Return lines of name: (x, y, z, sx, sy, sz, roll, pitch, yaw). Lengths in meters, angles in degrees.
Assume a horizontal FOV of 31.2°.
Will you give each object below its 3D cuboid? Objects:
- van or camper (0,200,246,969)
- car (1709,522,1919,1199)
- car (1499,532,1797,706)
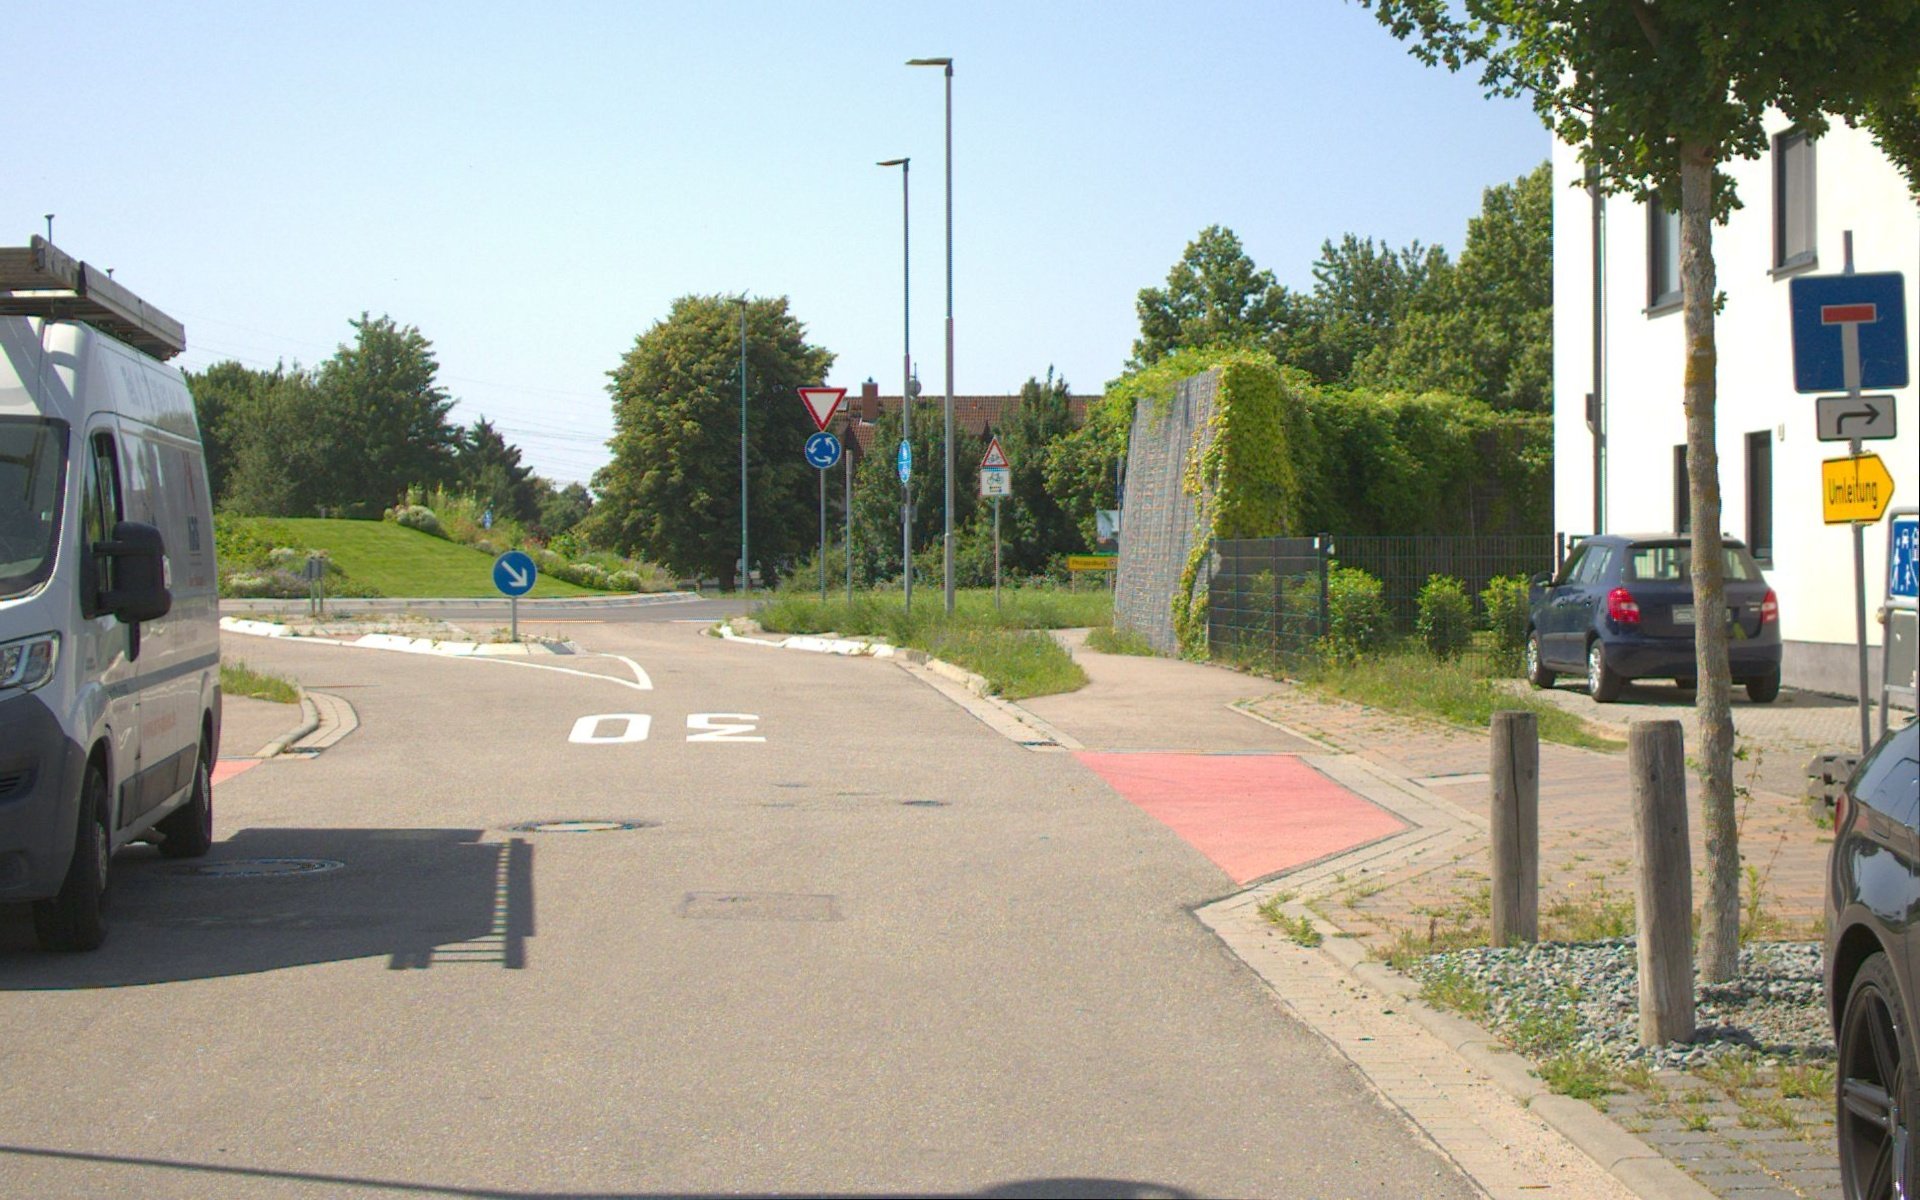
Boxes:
van or camper: (-4.424, -0.059, 14.422, 2.272, 2.544, 6.369, 0, 0, -7)
car: (2.668, 0.609, 5.338, 1.918, 1.464, 5.140, -2, 1, 1)
car: (6.272, 0.124, 31.776, 1.677, 1.464, 4.117, 1, 1, -4)
